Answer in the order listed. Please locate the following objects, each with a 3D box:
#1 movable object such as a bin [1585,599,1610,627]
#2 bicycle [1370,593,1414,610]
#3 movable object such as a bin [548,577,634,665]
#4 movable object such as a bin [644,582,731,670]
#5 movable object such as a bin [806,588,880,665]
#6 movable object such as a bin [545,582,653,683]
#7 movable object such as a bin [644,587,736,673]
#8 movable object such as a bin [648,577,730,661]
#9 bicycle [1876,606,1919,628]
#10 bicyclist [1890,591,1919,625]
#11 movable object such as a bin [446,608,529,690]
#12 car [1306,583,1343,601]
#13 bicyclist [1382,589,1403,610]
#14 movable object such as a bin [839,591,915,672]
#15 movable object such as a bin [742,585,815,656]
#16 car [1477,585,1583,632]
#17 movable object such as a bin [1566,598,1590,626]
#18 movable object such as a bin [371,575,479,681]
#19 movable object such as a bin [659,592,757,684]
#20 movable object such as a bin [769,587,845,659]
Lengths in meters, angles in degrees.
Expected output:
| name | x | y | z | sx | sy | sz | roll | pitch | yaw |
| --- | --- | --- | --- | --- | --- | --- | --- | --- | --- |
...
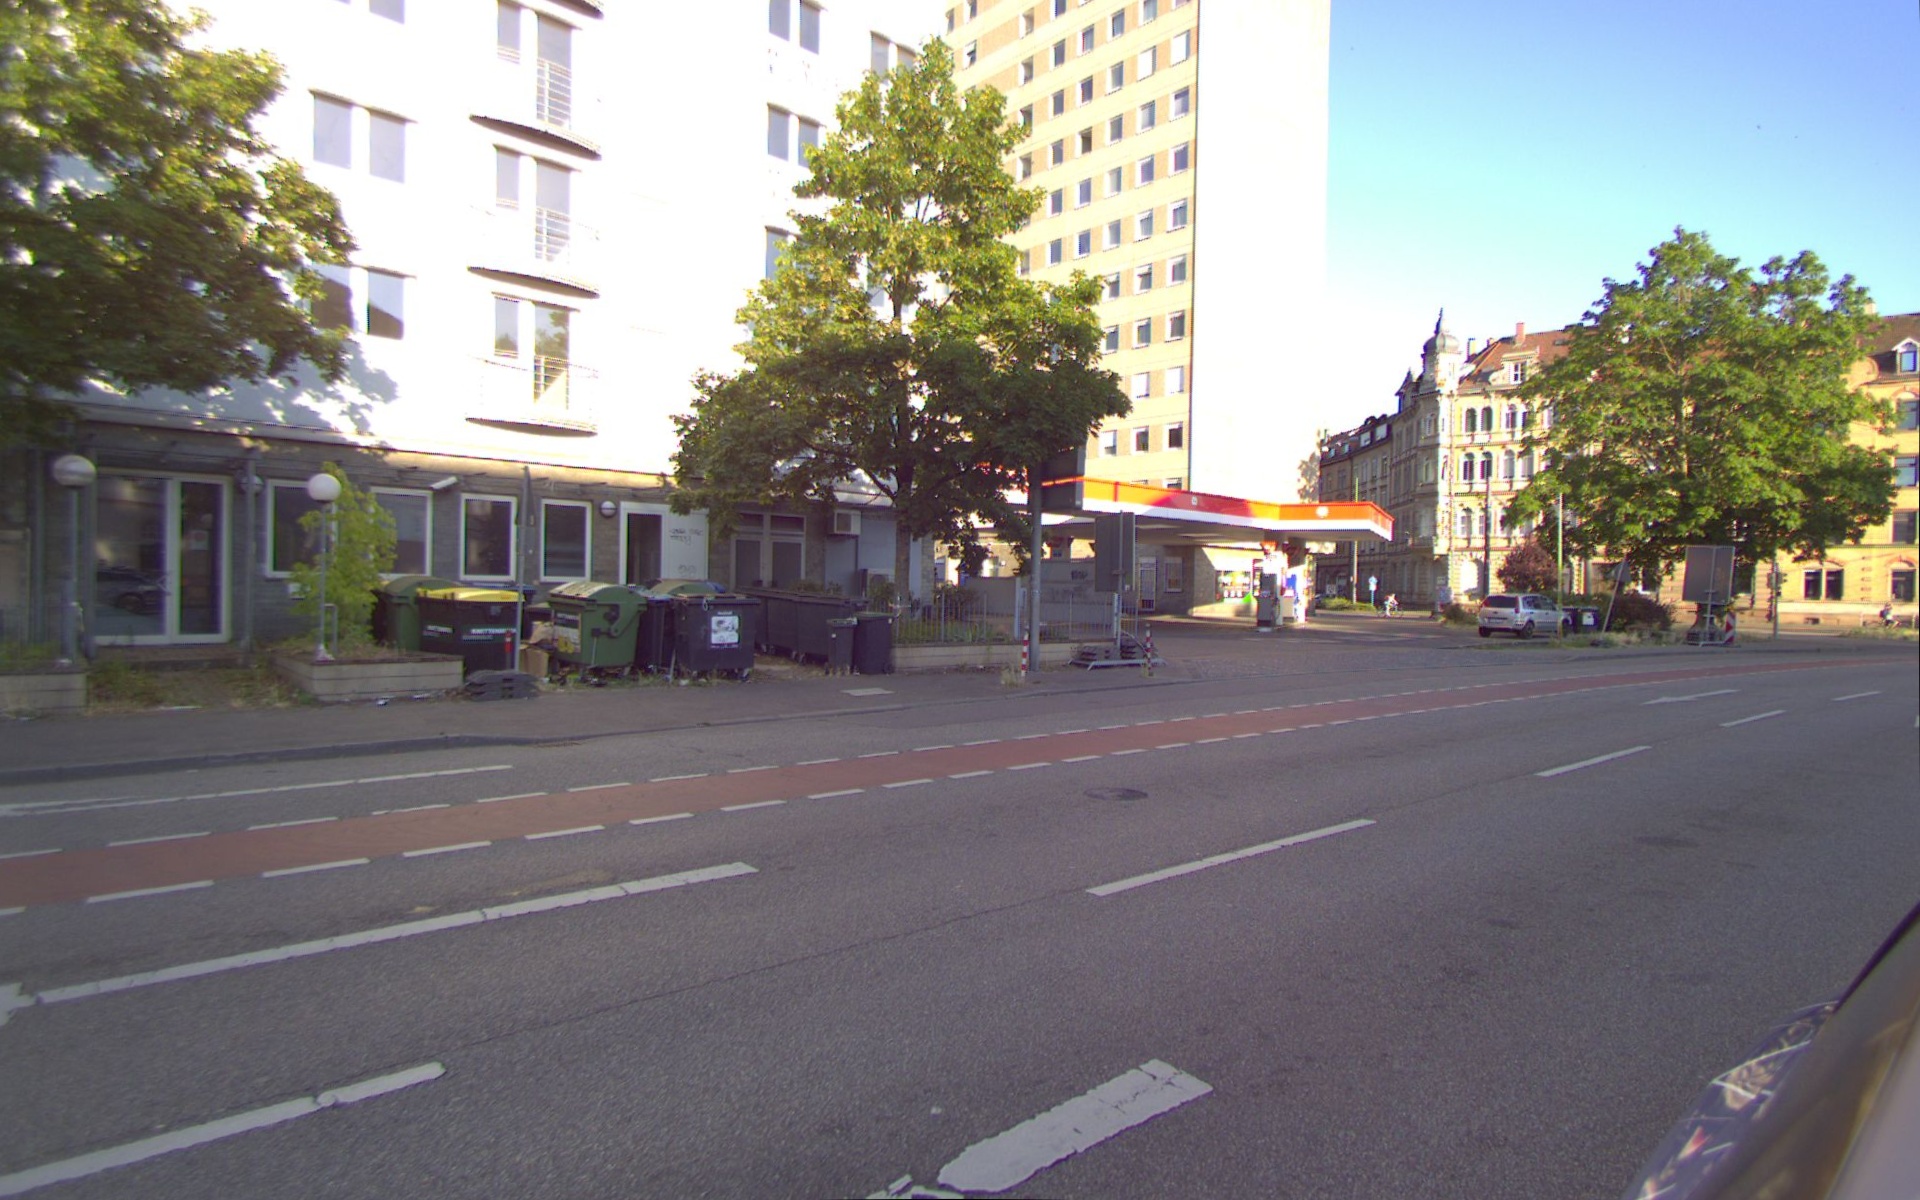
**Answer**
| name | x | y | z | sx | sy | sz | roll | pitch | yaw |
| --- | --- | --- | --- | --- | --- | --- | --- | --- | --- |
| movable object such as a bin | 23.606 | 0.471 | 37.458 | 0.674 | 1.031 | 0.544 | 0 | 1 | -35 |
| bicycle | 28.970 | 0.097 | 67.953 | 2.613 | 1.083 | 0.772 | -1 | 0 | 45 |
| movable object such as a bin | -6.664 | 0.346 | 18.282 | 1.143 | 1.517 | 1.033 | 0 | 1 | -43 |
| movable object such as a bin | -4.802 | 0.431 | 17.833 | 1.143 | 1.467 | 1.033 | 0 | 1 | -43 |
| movable object such as a bin | -2.140 | 0.457 | 18.493 | 0.938 | 1.345 | 0.954 | 0 | 1 | -43 |
| movable object such as a bin | -5.516 | 0.461 | 15.466 | 1.088 | 1.441 | 1.348 | 0 | 1 | -44 |
| movable object such as a bin | -4.454 | 0.468 | 16.700 | 1.143 | 1.345 | 0.954 | 0 | 1 | -43 |
| movable object such as a bin | -5.131 | 0.333 | 19.127 | 1.143 | 1.517 | 1.033 | 0 | 1 | -43 |
| bicycle | 47.914 | 0.863 | 51.465 | 1.921 | 1.072 | 0.444 | 2 | 1 | 43 |
| bicyclist | 48.066 | 0.401 | 51.494 | 1.062 | 1.670 | 0.721 | 2 | 1 | 43 |
| movable object such as a bin | -6.596 | 0.665 | 14.129 | 0.806 | 1.058 | 0.851 | 0 | 1 | -45 |
| car | 34.420 | -0.783 | 95.659 | 1.962 | 1.552 | 4.000 | 1 | 1 | 1 |
| bicyclist | 29.046 | -0.014 | 67.910 | 1.065 | 1.382 | 0.841 | -1 | -1 | 44 |
| movable object such as a bin | -1.463 | 0.523 | 17.783 | 0.938 | 1.345 | 0.954 | 0 | 1 | -43 |
| movable object such as a bin | -3.582 | 0.383 | 19.975 | 1.080 | 1.345 | 0.954 | 0 | 1 | -43 |
| car | 19.858 | 0.259 | 35.252 | 3.722 | 1.536 | 1.691 | 0 | 1 | -33 |
| movable object such as a bin | 23.298 | 0.459 | 38.146 | 0.674 | 1.031 | 0.544 | 0 | 1 | -35 |
| movable object such as a bin | -7.975 | 0.380 | 15.075 | 1.088 | 1.479 | 1.348 | 0 | 1 | -44 |
| movable object such as a bin | -3.916 | 0.561 | 15.736 | 1.143 | 1.345 | 0.954 | 0 | 1 | -43 |
| movable object such as a bin | -2.909 | 0.410 | 19.240 | 1.080 | 1.299 | 0.954 | 0 | 1 | -43 |
